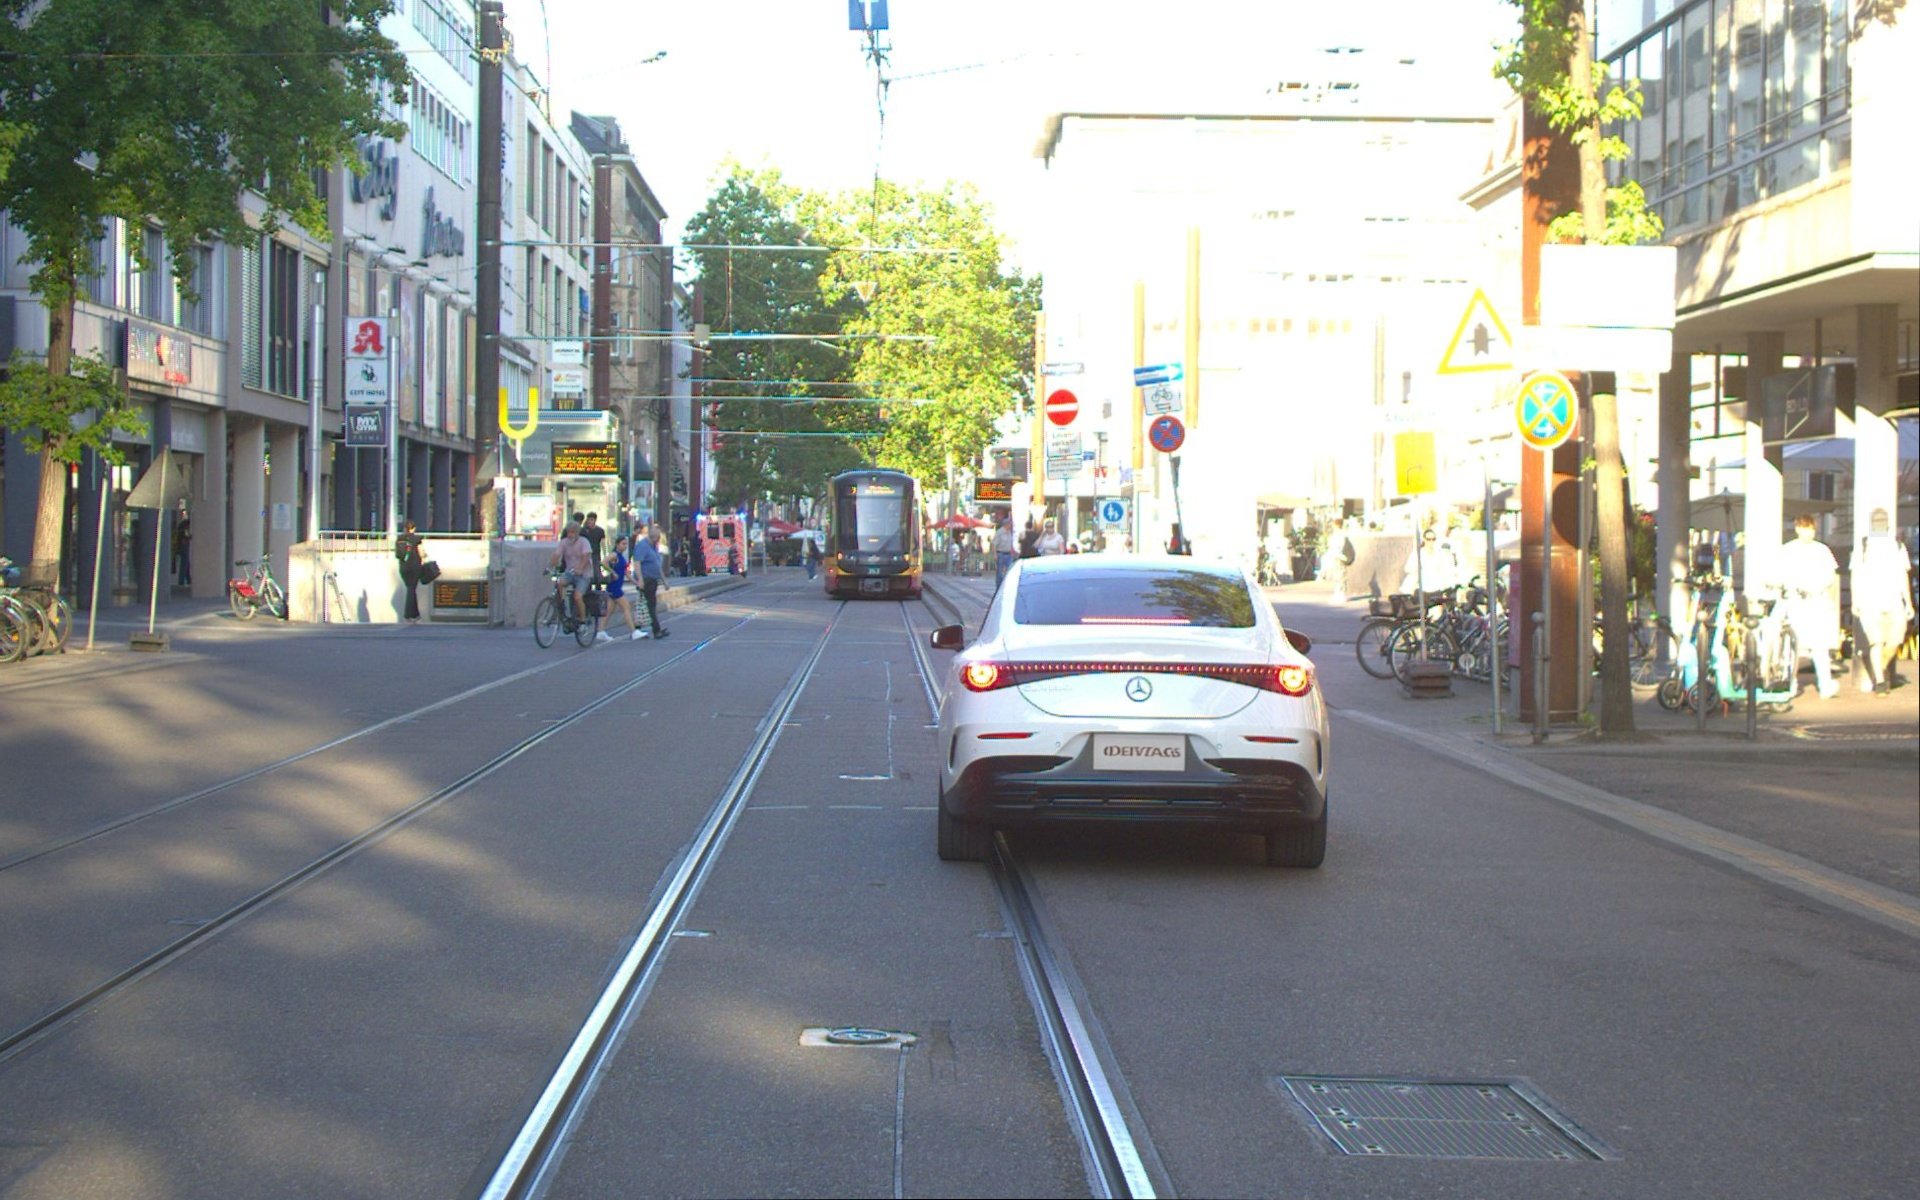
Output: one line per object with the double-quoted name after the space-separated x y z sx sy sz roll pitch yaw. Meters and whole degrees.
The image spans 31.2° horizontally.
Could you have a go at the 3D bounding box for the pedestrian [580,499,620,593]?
-6.722 -1.008 64.201 0.550 1.754 0.520 1 1 27 "pedestrian"

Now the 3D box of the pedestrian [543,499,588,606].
-7.080 -0.856 61.704 0.540 1.922 0.571 1 1 43 "pedestrian"

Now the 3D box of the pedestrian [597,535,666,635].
-4.967 -0.230 52.058 0.955 1.491 0.944 0 1 0 "pedestrian"

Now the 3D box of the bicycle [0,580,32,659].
-10.236 0.175 34.951 1.492 0.780 0.344 2 1 0 "bicycle"

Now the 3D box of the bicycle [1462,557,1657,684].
6.306 0.206 36.175 1.907 1.277 0.610 -1 1 -12 "bicycle"

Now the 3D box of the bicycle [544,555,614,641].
-5.381 -0.037 48.678 0.800 1.138 2.257 2 1 -3 "bicycle"

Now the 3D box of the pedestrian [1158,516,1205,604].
4.223 -0.771 65.618 0.838 1.656 0.785 1 1 1 "pedestrian"

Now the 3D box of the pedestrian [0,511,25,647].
-11.764 -0.263 41.471 0.749 1.617 0.981 0 1 -4 "pedestrian"

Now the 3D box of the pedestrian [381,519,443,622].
-9.209 -0.503 57.772 0.837 1.711 0.785 0 1 -25 "pedestrian"

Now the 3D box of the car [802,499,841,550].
-7.921 -4.319 196.894 2.099 2.887 5.275 0 1 -1 "car"

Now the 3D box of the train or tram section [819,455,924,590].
-2.437 -2.145 95.679 2.694 3.504 12.546 0 1 -1 "train or tram section"

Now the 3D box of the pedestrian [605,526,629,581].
-10.099 -1.367 101.321 0.660 1.593 0.573 0 1 -2 "pedestrian"

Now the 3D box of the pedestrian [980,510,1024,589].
0.960 -1.169 79.005 0.960 1.779 0.804 -1 1 -2 "pedestrian"

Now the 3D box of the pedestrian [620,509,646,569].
-8.755 -1.640 92.119 0.660 1.593 0.573 0 1 -2 "pedestrian"

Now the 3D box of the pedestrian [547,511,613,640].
-5.369 -0.356 48.641 0.800 1.776 0.849 2 1 -2 "pedestrian"

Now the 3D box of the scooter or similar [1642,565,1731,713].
6.408 0.336 30.343 0.527 1.273 0.660 -1 1 -12 "scooter or similar"

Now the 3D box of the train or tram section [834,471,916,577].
-2.956 -2.650 120.065 2.694 3.504 11.144 0 1 -1 "train or tram section"

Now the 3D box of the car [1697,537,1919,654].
11.668 -0.068 44.516 3.801 1.468 1.649 0 1 -6 "car"

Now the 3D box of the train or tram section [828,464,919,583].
-2.701 -2.407 108.228 2.694 3.504 12.546 0 1 -1 "train or tram section"

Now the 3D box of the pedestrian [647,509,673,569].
-8.056 -1.630 92.207 0.660 1.593 0.573 0 1 -2 "pedestrian"

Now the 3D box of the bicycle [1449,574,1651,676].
6.449 0.265 37.590 2.113 1.092 0.610 0 1 -14 "bicycle"

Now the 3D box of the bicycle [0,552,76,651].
-10.234 0.003 36.715 1.492 1.025 0.345 2 1 -11 "bicycle"

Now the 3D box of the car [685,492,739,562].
-10.514 -3.099 145.971 1.993 2.887 5.275 0 1 -1 "car"

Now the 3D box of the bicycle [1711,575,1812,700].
7.622 0.340 32.761 0.564 1.124 1.929 -1 1 2 "bicycle"

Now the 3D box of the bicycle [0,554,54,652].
-10.358 0.018 36.274 1.492 1.006 0.345 2 1 -11 "bicycle"

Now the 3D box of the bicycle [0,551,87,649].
-10.307 -0.008 37.460 1.492 1.025 0.345 2 1 -11 "bicycle"

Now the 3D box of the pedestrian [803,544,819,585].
-5.972 -1.416 137.757 0.604 1.624 0.531 0 1 -1 "pedestrian"

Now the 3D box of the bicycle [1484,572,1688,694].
6.266 0.321 34.441 1.907 1.152 0.610 -1 1 -12 "bicycle"

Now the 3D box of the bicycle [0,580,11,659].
-10.350 0.173 34.586 1.492 0.780 0.344 2 1 0 "bicycle"

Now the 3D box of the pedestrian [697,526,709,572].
-9.164 -1.819 122.617 0.414 1.624 0.606 0 1 -1 "pedestrian"

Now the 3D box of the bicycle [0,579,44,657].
-10.211 0.162 35.320 1.492 0.780 0.344 2 1 0 "bicycle"

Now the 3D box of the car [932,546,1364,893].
0.812 0.492 17.159 1.857 1.450 4.175 2 1 0 "car"

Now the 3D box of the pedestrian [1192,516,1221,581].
6.830 -1.434 95.330 0.727 1.779 0.708 1 1 -2 "pedestrian"

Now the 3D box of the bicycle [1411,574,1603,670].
6.330 0.245 39.788 2.113 1.092 0.610 0 1 -12 "bicycle"

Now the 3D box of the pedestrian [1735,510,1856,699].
7.942 0.034 32.704 0.899 1.738 0.690 -3 1 -1 "pedestrian"

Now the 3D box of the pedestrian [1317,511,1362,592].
7.954 -1.021 72.055 0.817 1.679 0.804 -1 1 -2 "pedestrian"

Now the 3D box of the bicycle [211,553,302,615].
-11.833 -0.278 57.890 0.719 1.006 2.038 1 1 13 "bicycle"

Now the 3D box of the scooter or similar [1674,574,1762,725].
6.554 0.419 29.730 0.491 1.273 0.660 -1 1 -12 "scooter or similar"

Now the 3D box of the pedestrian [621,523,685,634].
-4.722 -0.336 52.916 0.905 1.692 0.849 0 1 0 "pedestrian"

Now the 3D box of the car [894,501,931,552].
-2.730 -4.234 197.286 2.099 2.887 5.285 0 1 -1 "car"

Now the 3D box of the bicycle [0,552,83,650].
-10.253 -0.004 37.089 1.492 1.025 0.345 2 1 -11 "bicycle"

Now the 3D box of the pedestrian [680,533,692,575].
-10.496 -1.758 131.725 0.414 1.624 0.606 0 1 -1 "pedestrian"

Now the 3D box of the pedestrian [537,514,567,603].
-7.400 -0.748 62.368 0.531 1.608 0.541 0 1 -7 "pedestrian"

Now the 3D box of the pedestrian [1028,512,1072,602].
1.714 -0.822 65.759 0.746 1.692 0.840 0 1 -4 "pedestrian"

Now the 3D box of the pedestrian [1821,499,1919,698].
8.647 -0.025 32.389 0.701 1.806 1.033 -3 1 -2 "pedestrian"

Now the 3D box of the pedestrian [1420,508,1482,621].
7.865 -0.577 55.083 0.840 1.779 0.804 -1 1 -2 "pedestrian"

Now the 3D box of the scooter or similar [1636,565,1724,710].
6.492 0.334 31.009 0.527 1.273 0.660 -1 1 -12 "scooter or similar"

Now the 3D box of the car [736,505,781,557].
-9.634 -3.293 164.830 1.910 2.452 5.275 0 1 -1 "car"

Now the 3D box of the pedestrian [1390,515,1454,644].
6.485 -0.288 48.249 0.748 1.779 0.767 -1 1 -2 "pedestrian"

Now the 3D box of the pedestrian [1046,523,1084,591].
2.818 -1.158 92.315 0.960 1.779 0.804 -1 1 -2 "pedestrian"

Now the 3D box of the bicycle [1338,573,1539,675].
5.322 0.267 38.242 2.113 1.092 0.610 1 1 -12 "bicycle"

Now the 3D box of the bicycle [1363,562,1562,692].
5.149 0.267 35.254 1.907 1.277 0.610 -1 1 -12 "bicycle"
